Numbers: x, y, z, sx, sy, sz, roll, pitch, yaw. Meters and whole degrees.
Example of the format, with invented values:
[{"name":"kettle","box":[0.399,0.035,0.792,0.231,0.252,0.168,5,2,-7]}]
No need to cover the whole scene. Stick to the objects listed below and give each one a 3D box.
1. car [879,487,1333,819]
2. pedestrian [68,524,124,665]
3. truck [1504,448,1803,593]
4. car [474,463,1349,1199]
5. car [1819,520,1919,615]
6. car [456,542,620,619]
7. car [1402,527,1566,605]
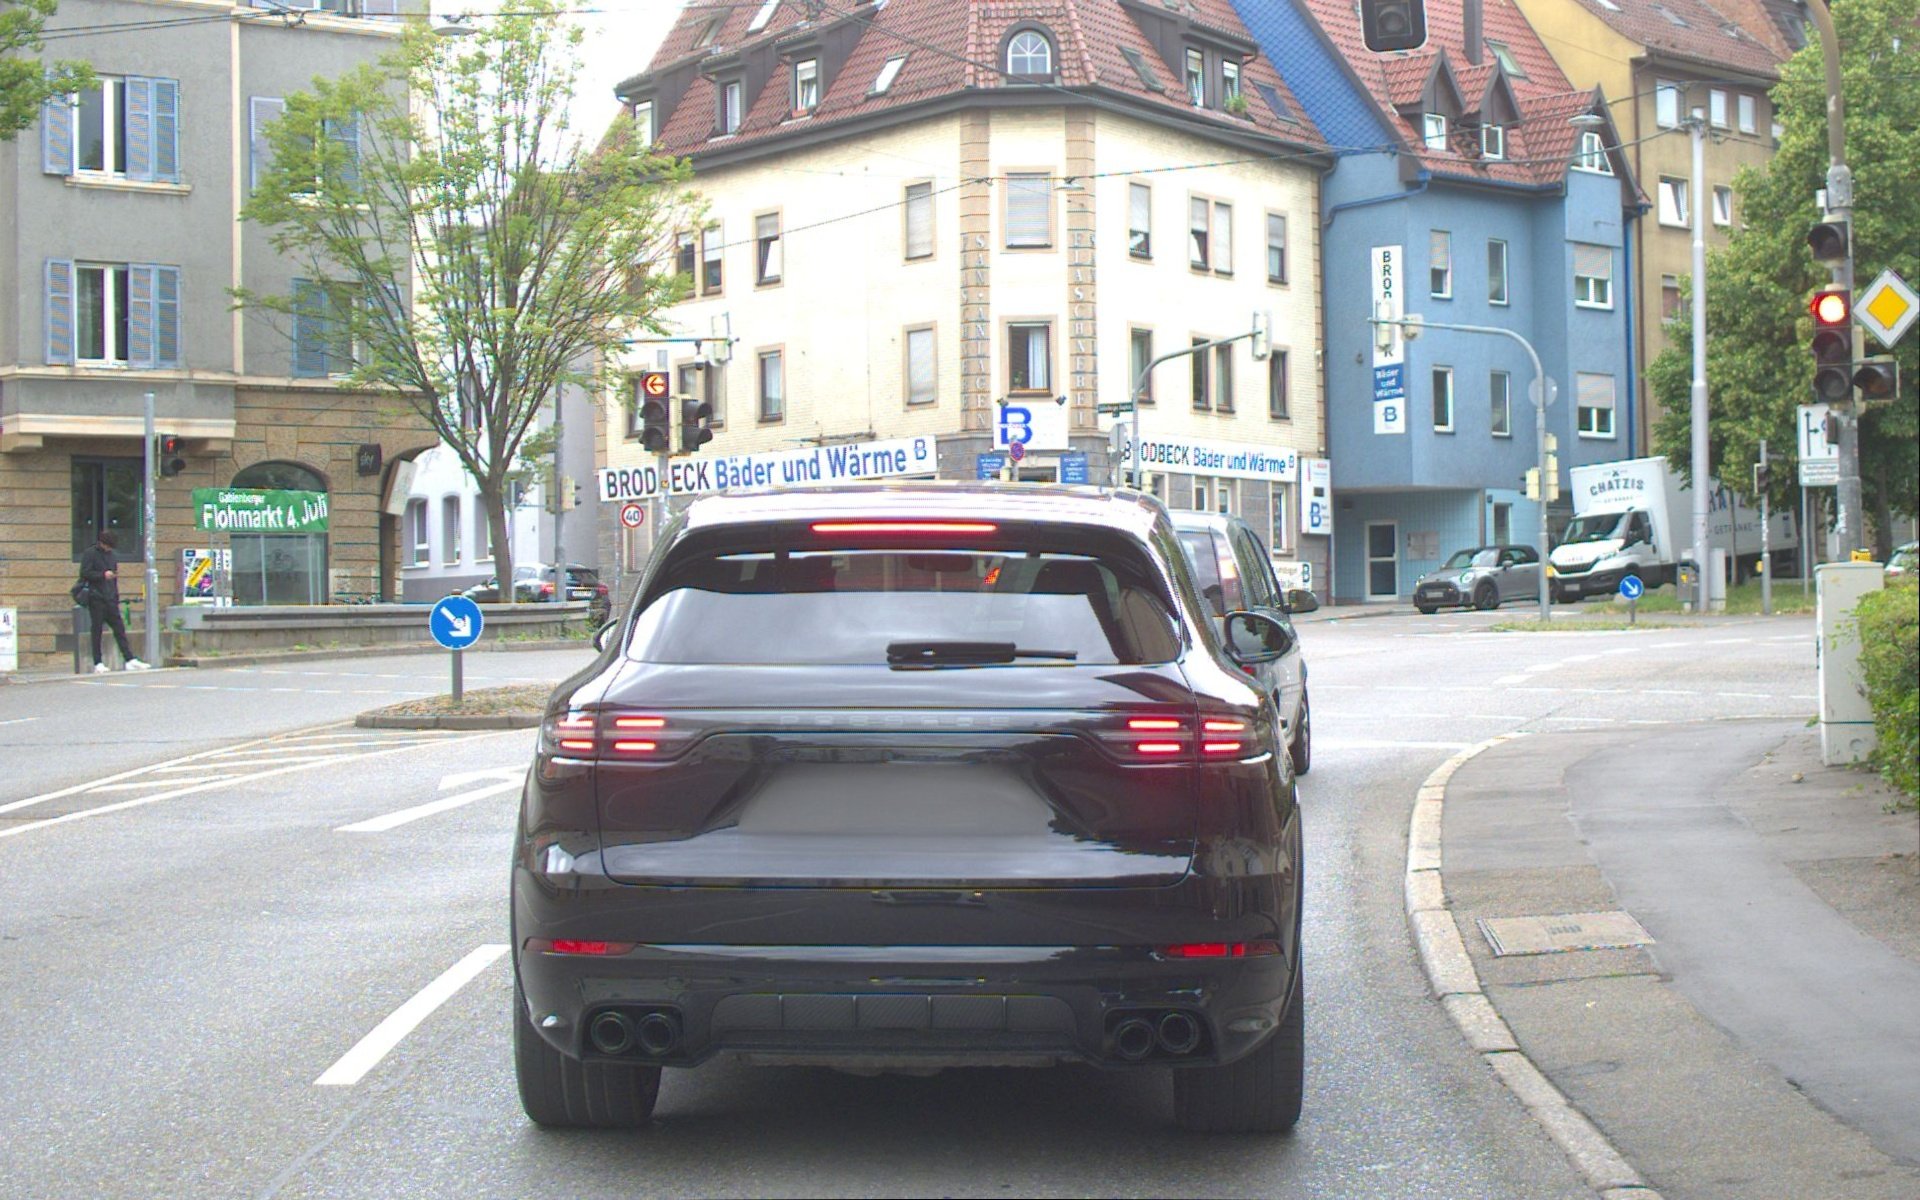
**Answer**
[{"name":"car","box":[0.949,0.243,19.560,1.994,1.678,3.998,0,1,11]},{"name":"pedestrian","box":[-10.699,-0.067,42.570,0.513,1.724,0.451,2,0,3]},{"name":"truck","box":[16.940,-1.883,83.533,2.880,3.328,8.771,2,1,43]},{"name":"car","box":[-0.181,0.476,9.791,1.978,1.678,4.001,0,2,-2]},{"name":"car","box":[16.938,-0.599,63.070,1.994,1.678,3.998,0,1,10]},{"name":"car","box":[-9.458,-0.441,76.848,1.994,1.678,3.999,0,0,-35]},{"name":"car","box":[11.699,-0.771,76.591,1.998,1.678,3.992,0,1,36]}]
